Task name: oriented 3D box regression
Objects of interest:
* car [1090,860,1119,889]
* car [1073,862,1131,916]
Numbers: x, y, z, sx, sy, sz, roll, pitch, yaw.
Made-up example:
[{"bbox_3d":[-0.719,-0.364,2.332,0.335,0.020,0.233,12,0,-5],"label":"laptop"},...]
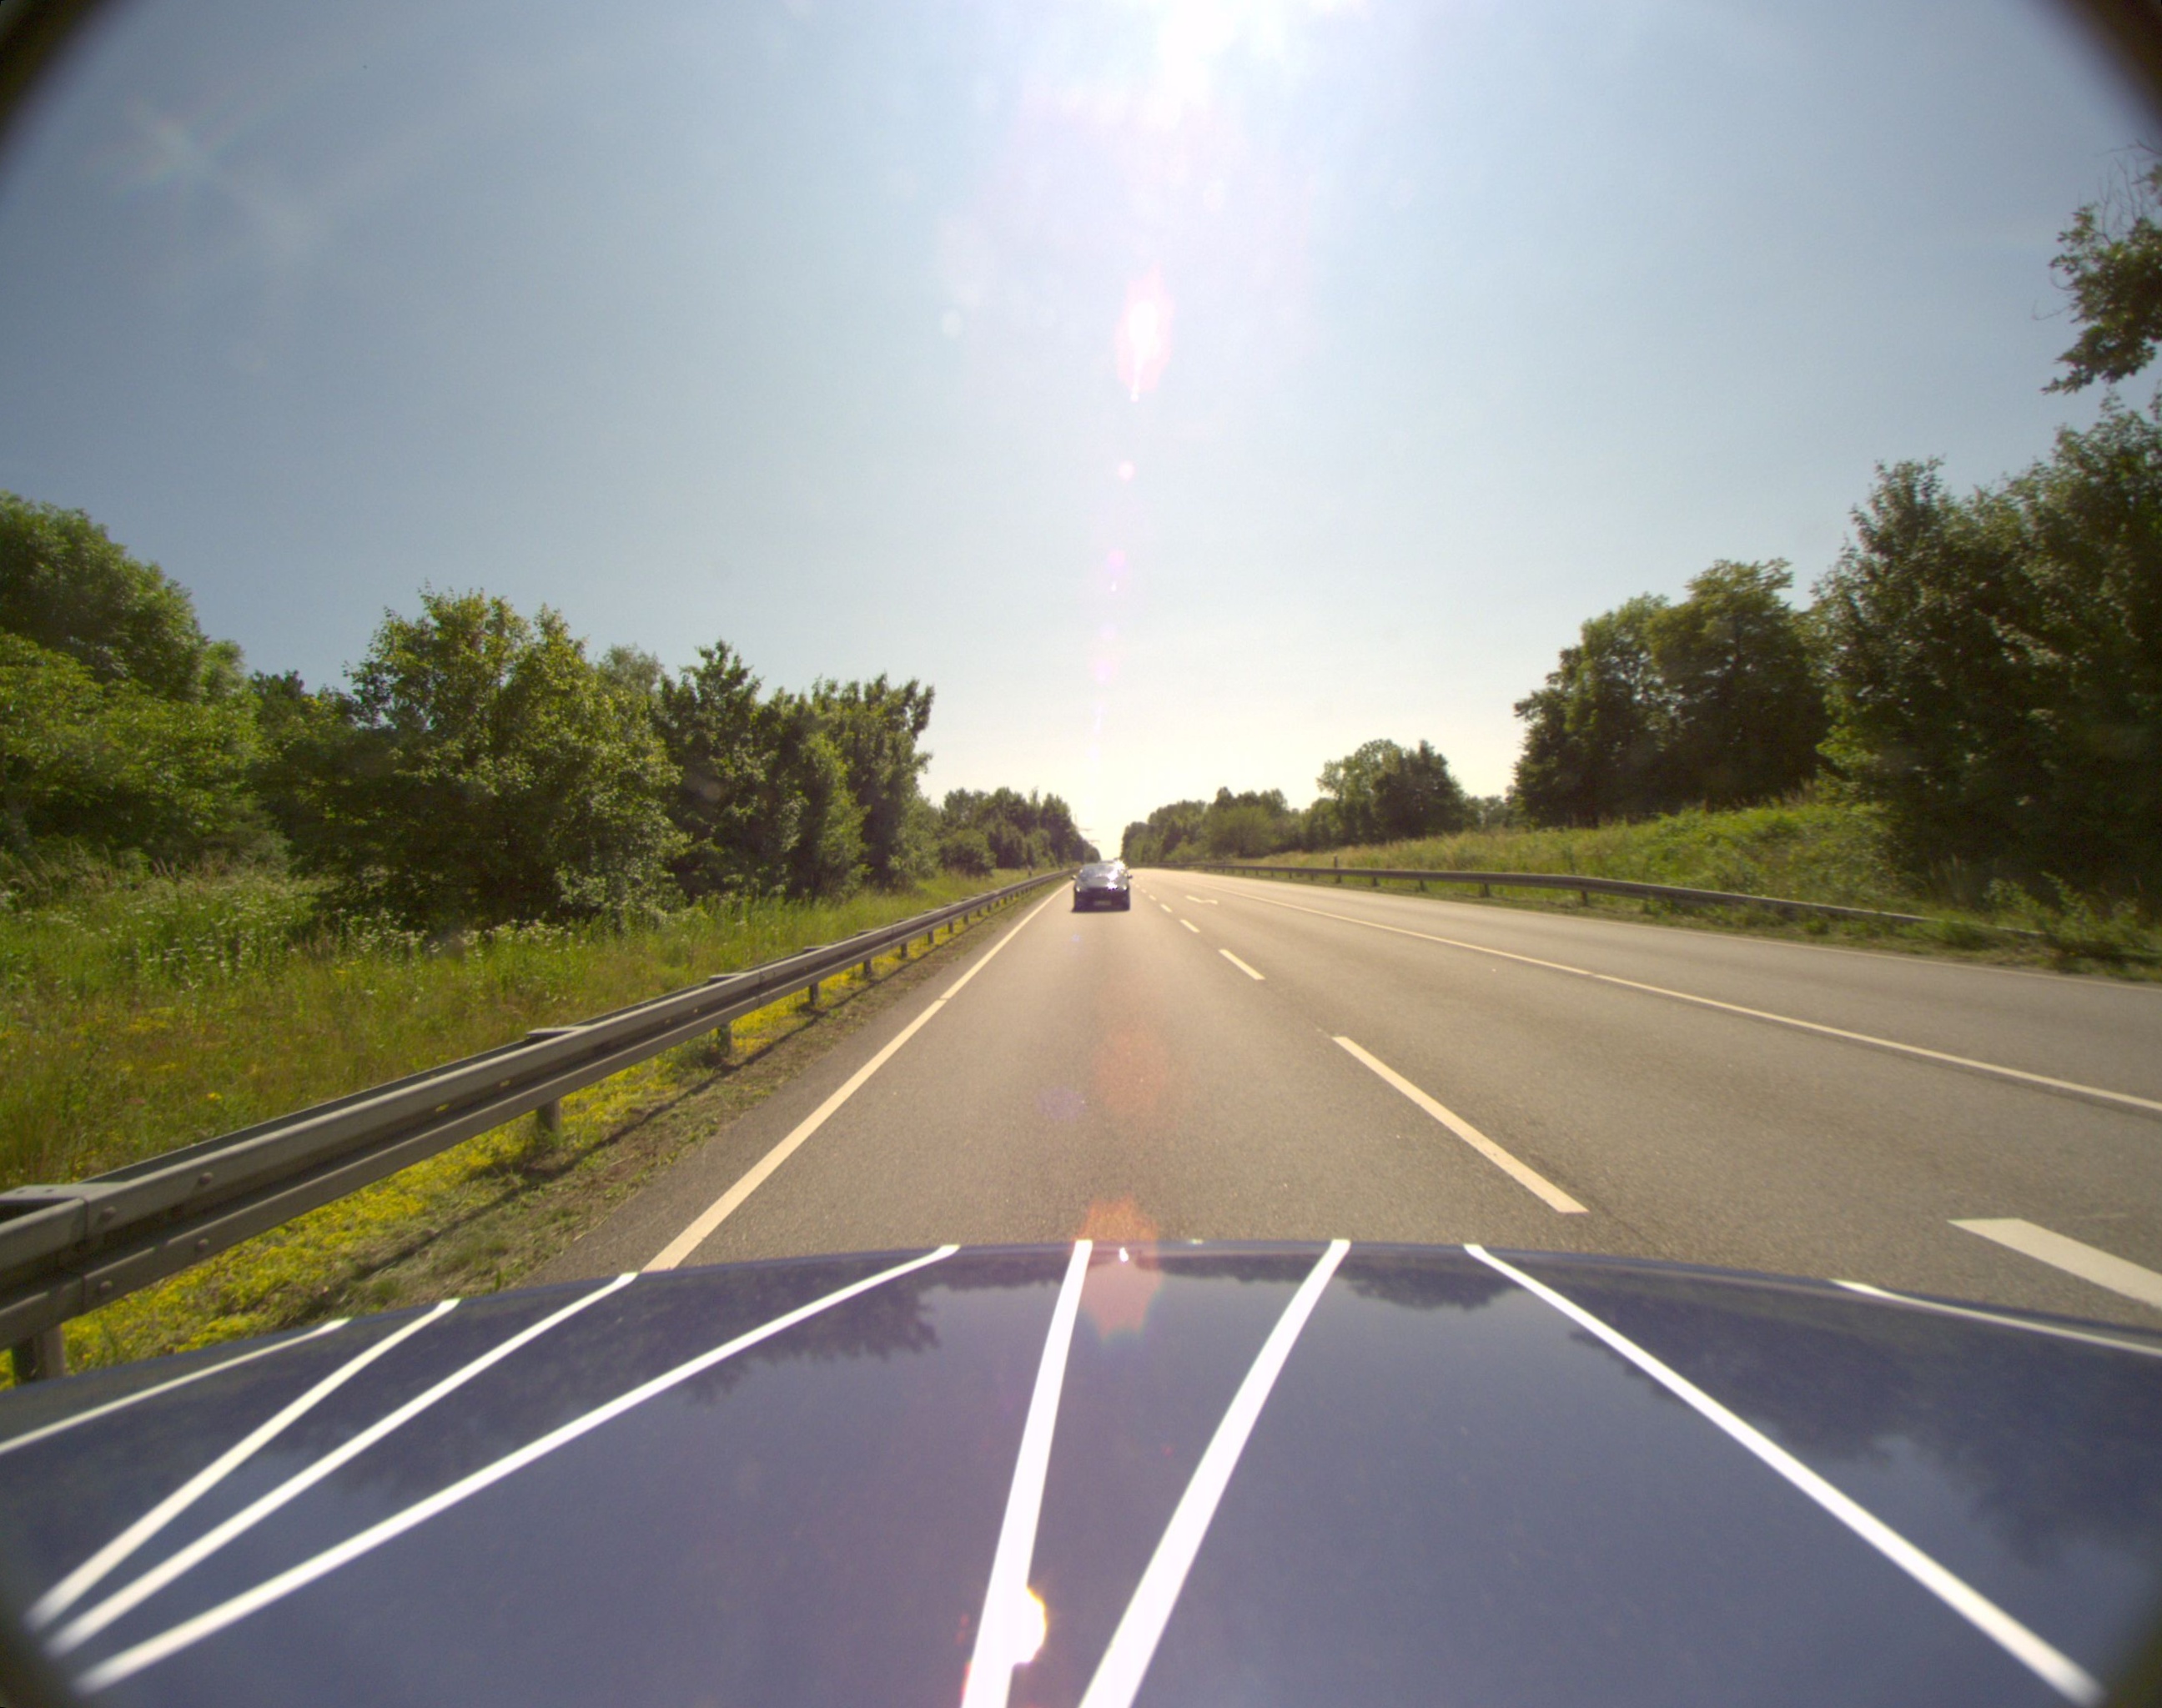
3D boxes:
[{"bbox_3d":[1.221,1.073,40.757,1.443,1.443,3.298,-2,0,0],"label":"car"},{"bbox_3d":[0.641,0.980,22.553,1.529,1.387,3.444,-3,0,2],"label":"car"}]
